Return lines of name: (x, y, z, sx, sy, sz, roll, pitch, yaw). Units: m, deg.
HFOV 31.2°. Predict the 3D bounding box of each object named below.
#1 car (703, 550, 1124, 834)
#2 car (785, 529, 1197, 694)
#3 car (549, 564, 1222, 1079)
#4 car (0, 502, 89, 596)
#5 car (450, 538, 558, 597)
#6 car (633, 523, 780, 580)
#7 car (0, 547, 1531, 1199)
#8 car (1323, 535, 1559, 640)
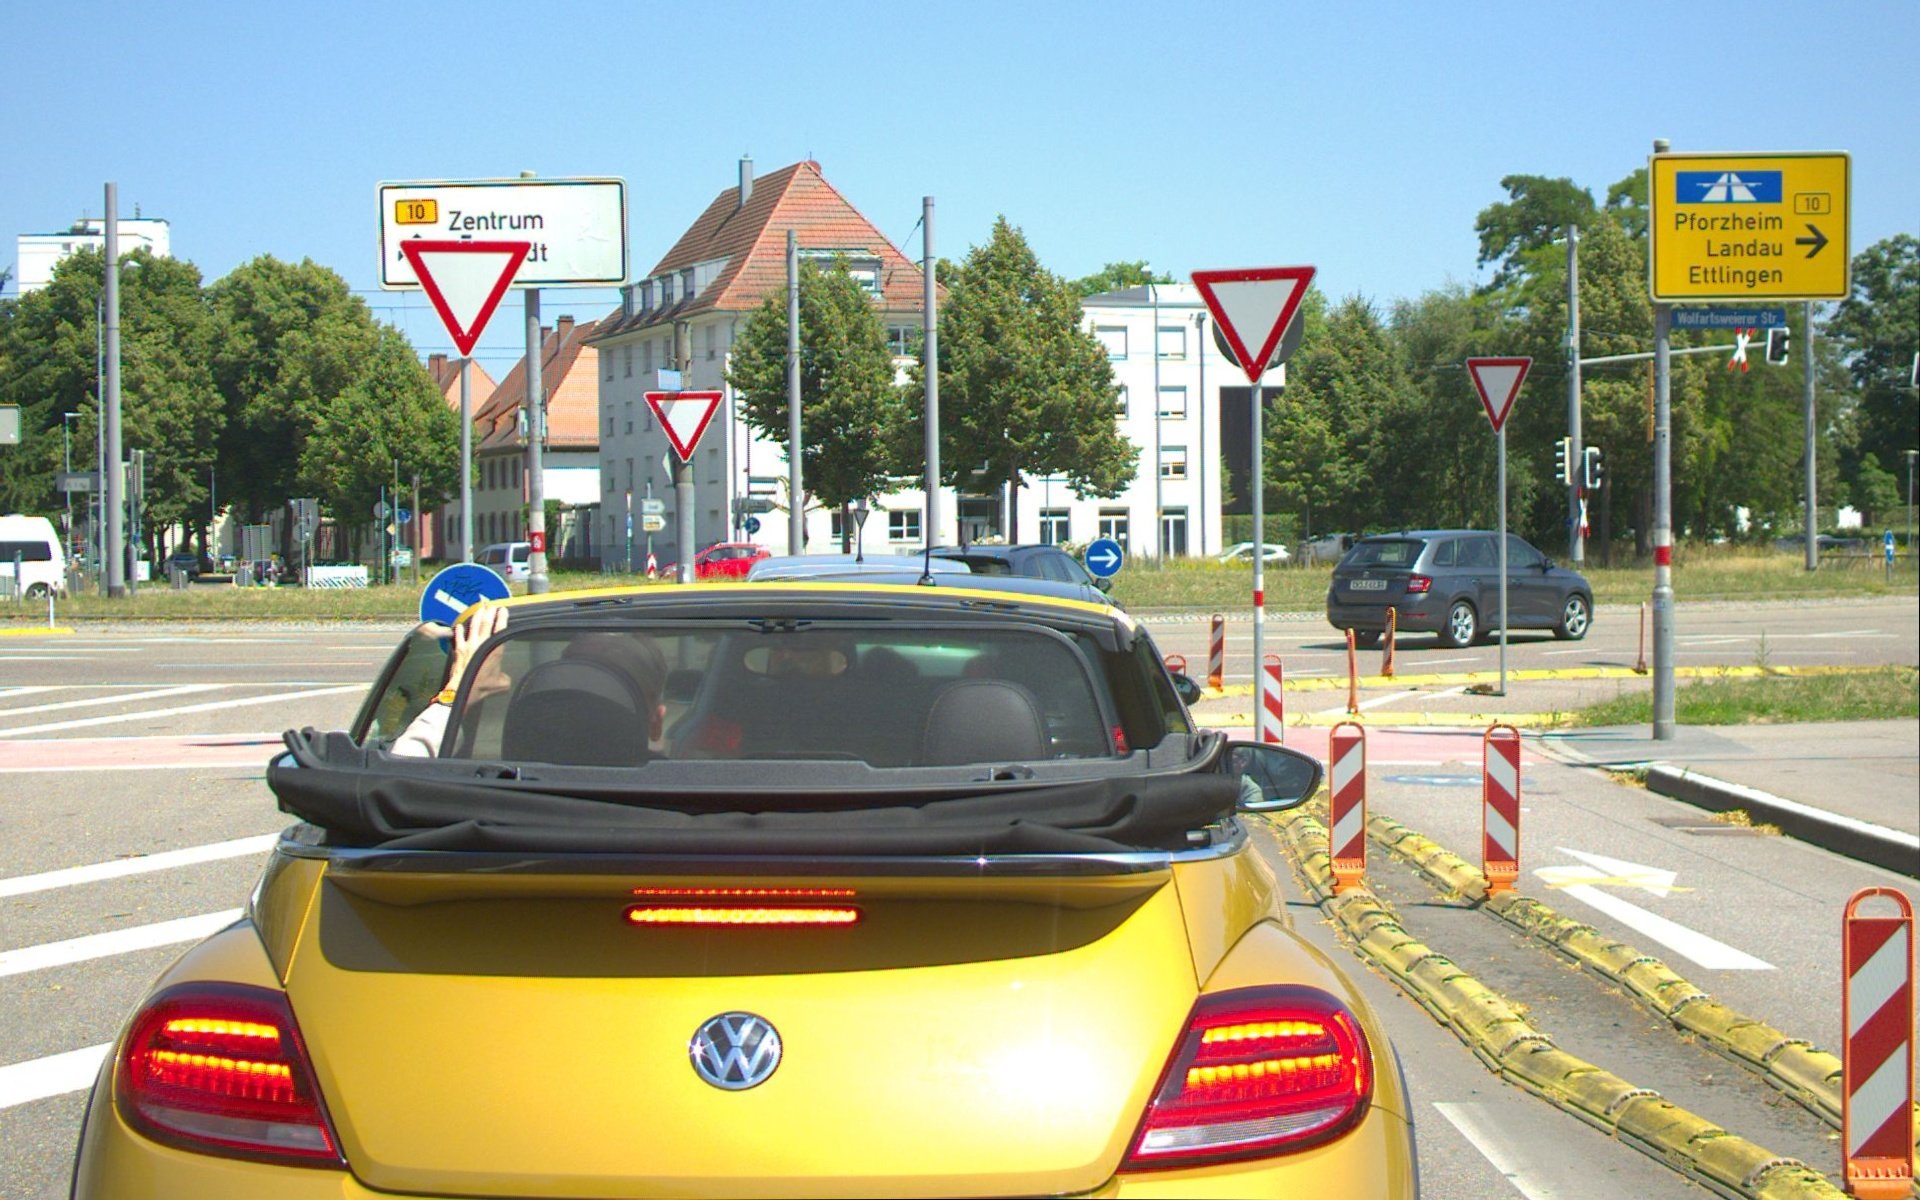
car: (-0.254, 0.433, 19.117, 2.065, 1.377, 4.258, 1, 1, -1)
car: (0.390, 0.067, 33.950, 2.068, 1.476, 4.535, 0, 1, 31)
car: (-0.229, 0.593, 11.680, 1.851, 1.361, 4.258, -1, 1, -1)
car: (-25.525, -1.338, 89.243, 5.313, 2.389, 1.993, 0, 1, -40)
car: (-16.459, -1.171, 123.802, 1.987, 2.063, 5.329, 1, 1, -29)
car: (-7.715, -1.462, 104.392, 4.331, 1.648, 1.901, 1, 0, -7)
car: (-0.280, 0.669, 5.962, 1.765, 1.476, 4.258, 1, 1, -1)
car: (6.045, -0.157, 43.003, 1.437, 1.254, 3.210, 1, 1, 40)
